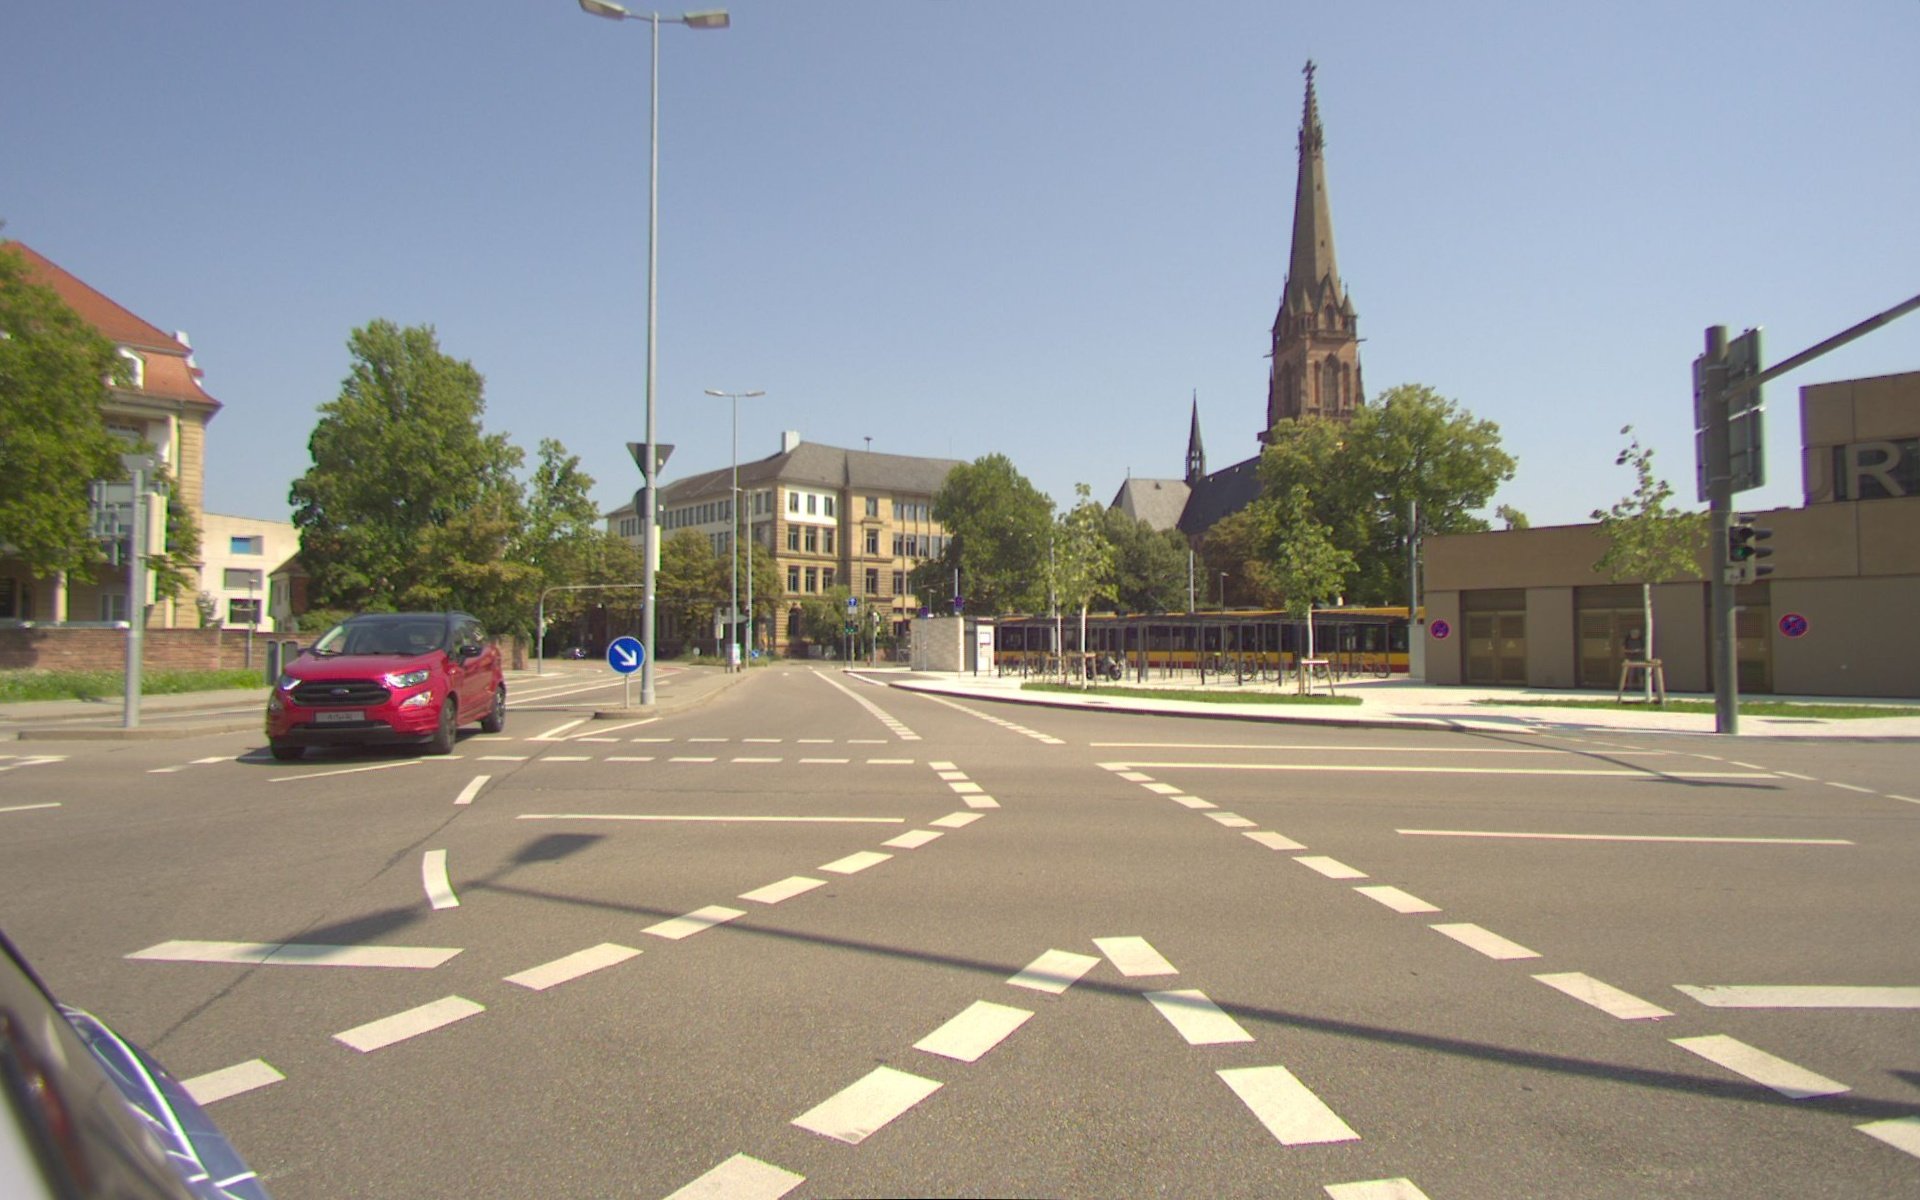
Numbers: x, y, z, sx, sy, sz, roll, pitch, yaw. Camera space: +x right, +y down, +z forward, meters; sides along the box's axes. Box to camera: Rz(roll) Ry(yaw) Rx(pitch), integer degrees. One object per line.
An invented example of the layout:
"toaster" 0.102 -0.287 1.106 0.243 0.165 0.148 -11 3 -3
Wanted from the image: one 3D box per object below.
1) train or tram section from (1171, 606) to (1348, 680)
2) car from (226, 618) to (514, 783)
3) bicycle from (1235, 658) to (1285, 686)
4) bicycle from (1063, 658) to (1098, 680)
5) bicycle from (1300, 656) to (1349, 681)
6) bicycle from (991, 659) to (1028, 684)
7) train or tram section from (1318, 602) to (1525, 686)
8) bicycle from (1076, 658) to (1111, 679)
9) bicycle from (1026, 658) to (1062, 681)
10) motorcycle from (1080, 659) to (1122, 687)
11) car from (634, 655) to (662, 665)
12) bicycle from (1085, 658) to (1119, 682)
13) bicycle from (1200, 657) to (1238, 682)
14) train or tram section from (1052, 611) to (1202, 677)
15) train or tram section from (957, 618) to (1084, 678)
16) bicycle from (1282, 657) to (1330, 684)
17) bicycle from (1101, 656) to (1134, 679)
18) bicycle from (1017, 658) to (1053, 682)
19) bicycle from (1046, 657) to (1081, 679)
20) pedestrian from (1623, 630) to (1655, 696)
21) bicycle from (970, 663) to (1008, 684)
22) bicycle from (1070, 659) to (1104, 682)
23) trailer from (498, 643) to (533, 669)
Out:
"train or tram section" 15.715 2.408 53.767 3.115 3.625 8.531 4 -6 -44
"car" -6.761 1.047 12.131 1.815 1.627 4.010 1 -1 -12
"bicycle" 11.347 2.714 38.250 1.732 1.048 0.507 -3 -5 39
"bicycle" 5.842 3.326 49.067 0.519 1.048 1.772 3 -5 -42
"bicycle" 14.995 2.821 41.665 1.857 0.993 0.506 -4 -5 44
"bicycle" 2.223 3.243 45.842 0.519 1.090 1.867 3 -5 -42
"train or tram section" 21.589 2.218 47.807 3.115 3.625 8.250 4 -6 -44
"bicycle" 6.573 3.375 49.952 0.519 1.048 1.772 3 -5 -42
"bicycle" 3.887 3.229 46.872 0.519 1.048 1.772 3 -5 -42
"motorcycle" 5.659 2.930 40.628 0.484 1.077 1.781 3 -5 -42
"car" -36.698 7.092 119.058 1.251 1.185 3.016 -3 -4 41
"bicycle" 6.508 3.203 46.347 0.406 1.048 1.643 3 -5 -42
"bicycle" 11.167 2.994 43.656 0.406 1.048 1.643 3 -5 -42
"train or tram section" 9.739 2.717 59.836 3.115 3.625 8.531 4 -6 -44
"train or tram section" 3.820 3.225 65.813 3.091 3.588 8.332 5 -7 -45
"bicycle" 13.819 2.812 40.467 1.729 1.048 0.507 -3 -4 33
"bicycle" 7.363 3.166 47.412 0.406 1.048 1.643 3 -5 -42
"bicycle" 3.408 3.197 46.367 0.519 1.048 1.772 3 -5 -42
"bicycle" 4.923 3.239 48.124 0.519 1.048 1.772 3 -5 -42
"pedestrian" 17.748 1.649 26.451 0.536 1.691 0.560 -4 -5 44
"bicycle" 1.274 3.241 44.722 0.484 0.890 1.900 3 -5 -42
"bicycle" 5.718 3.171 45.668 0.406 1.048 1.643 3 -5 -42
"trailer" -57.933 7.231 131.826 5.089 3.313 2.407 -3 -4 43
